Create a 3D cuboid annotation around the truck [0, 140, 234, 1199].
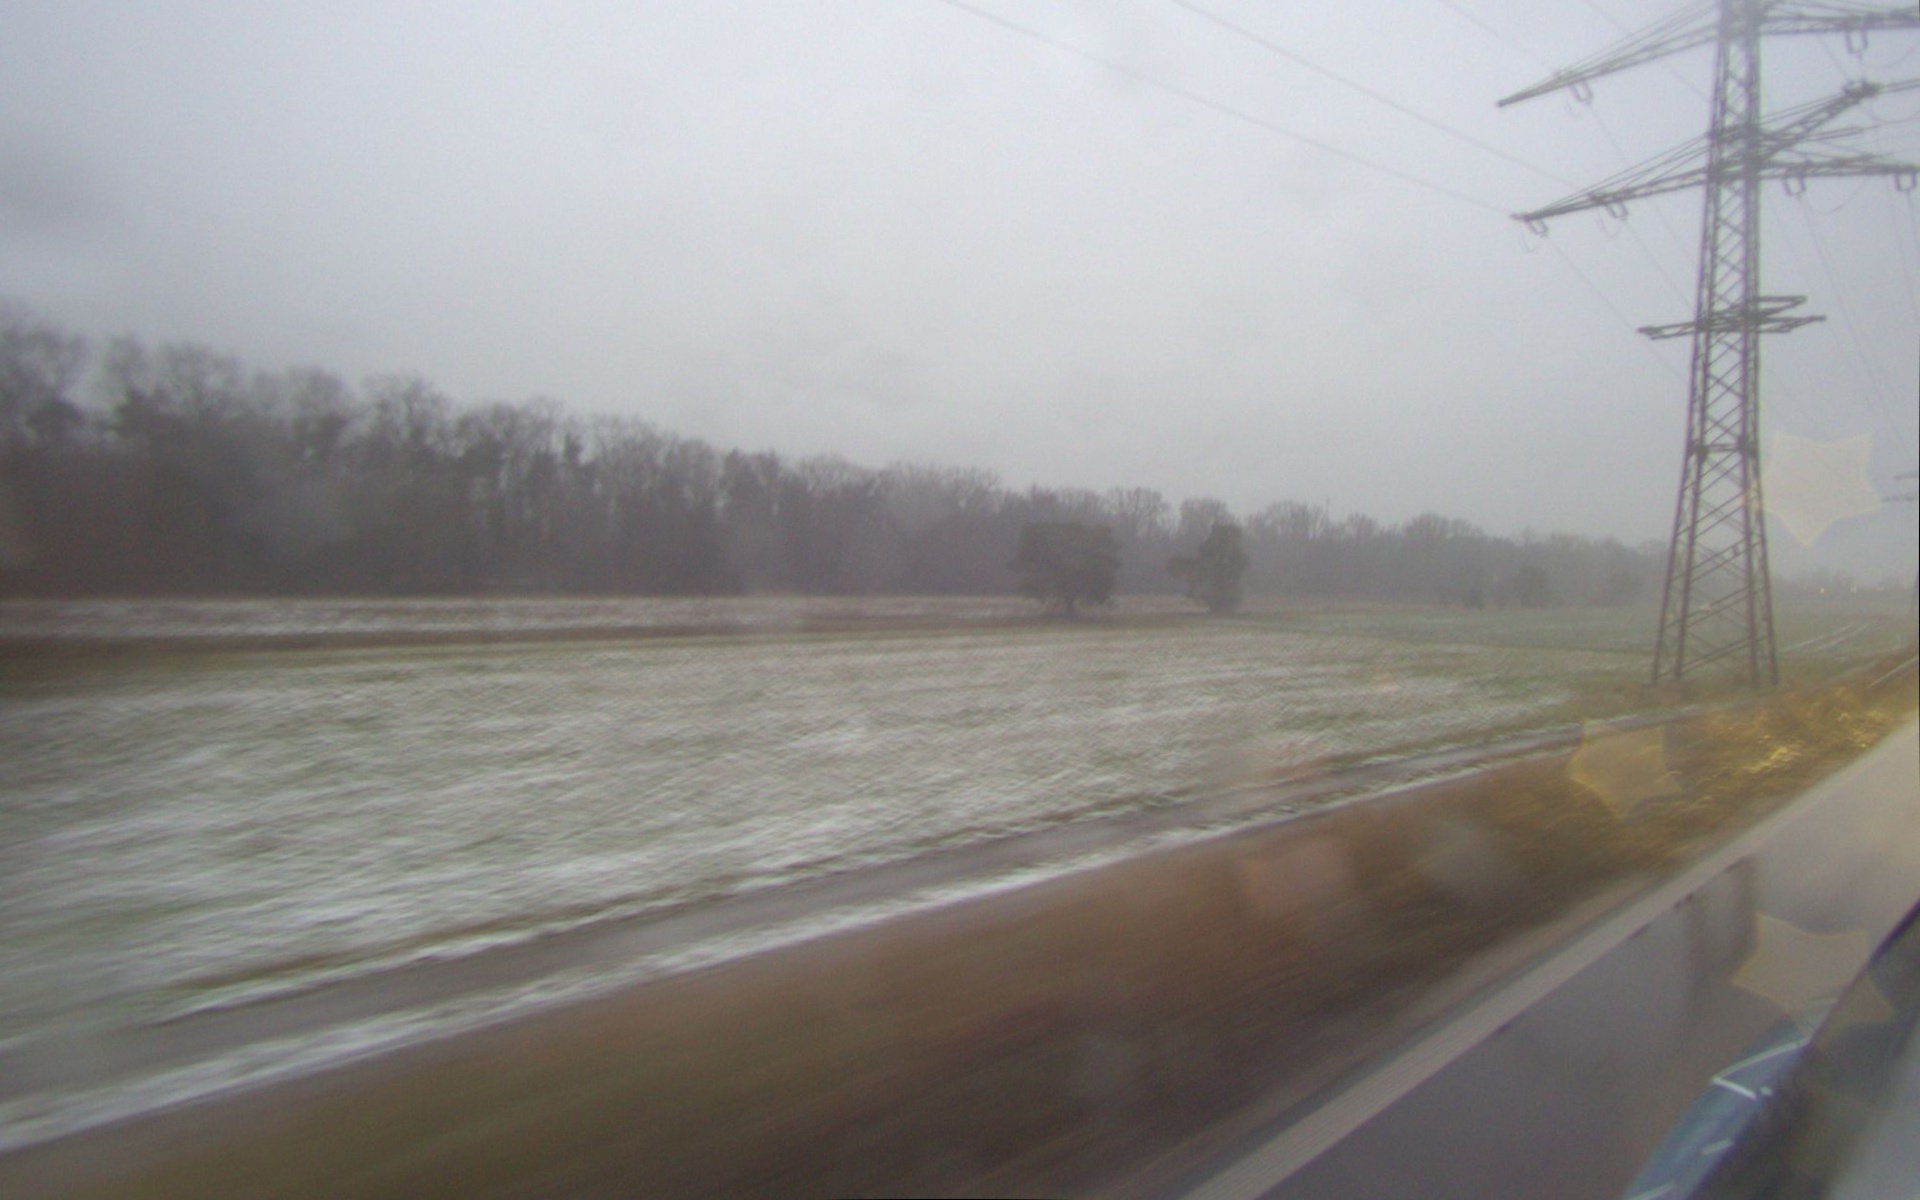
[{"bbox_3d":[-5.994,0.227,1.559,7.723,3.015,2.537,0,0,-42],"label":"truck"}]
